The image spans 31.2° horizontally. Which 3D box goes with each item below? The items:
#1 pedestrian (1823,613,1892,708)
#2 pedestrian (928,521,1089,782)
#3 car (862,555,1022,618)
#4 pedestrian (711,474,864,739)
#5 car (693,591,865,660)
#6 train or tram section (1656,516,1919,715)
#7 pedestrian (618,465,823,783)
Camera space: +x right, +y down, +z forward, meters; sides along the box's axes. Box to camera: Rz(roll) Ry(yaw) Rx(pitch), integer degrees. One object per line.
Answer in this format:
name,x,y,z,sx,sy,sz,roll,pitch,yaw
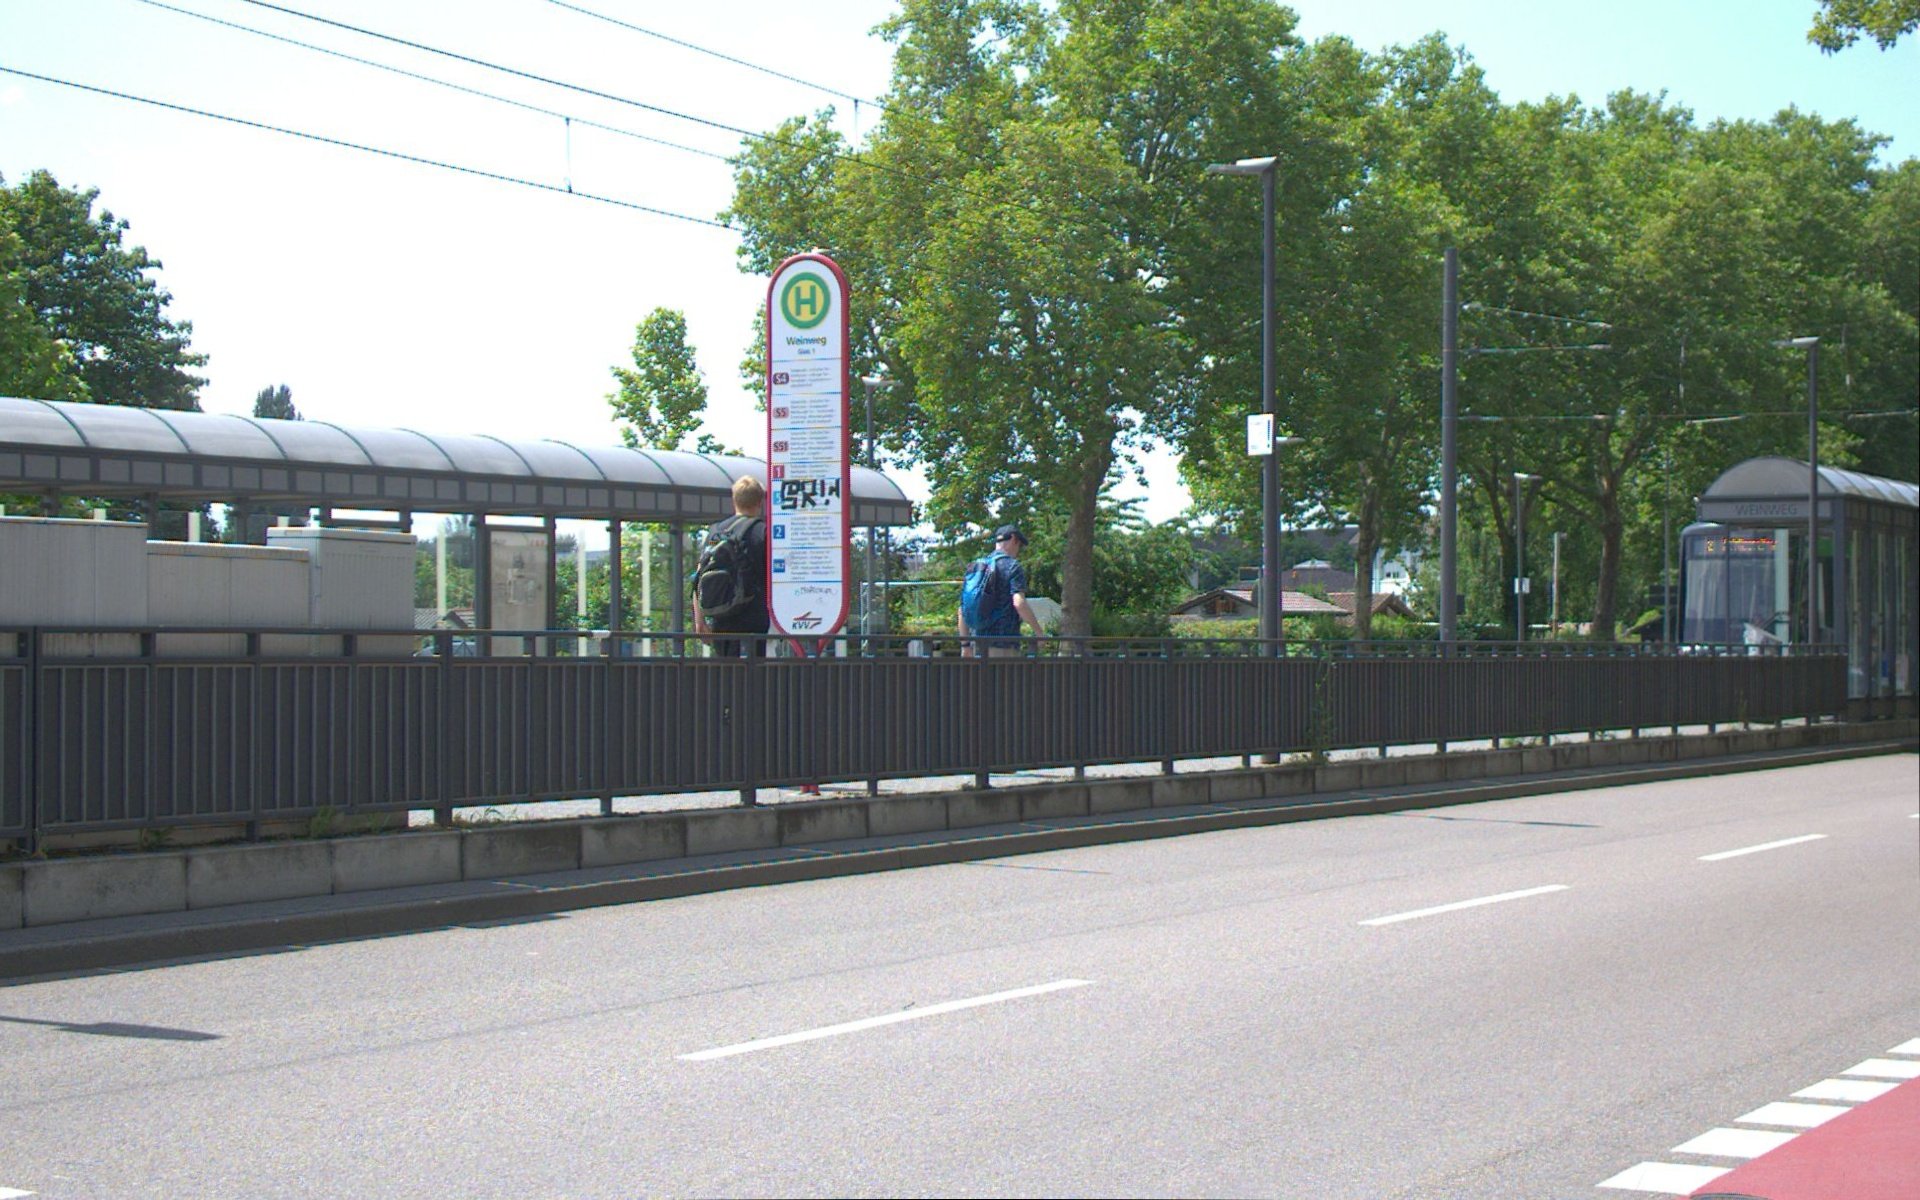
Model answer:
pedestrian,11.625,0.780,44.529,0.694,1.186,0.641,2,0,28
pedestrian,0.340,0.342,23.677,0.735,1.750,0.928,1,0,29
car,-0.498,-0.391,93.836,3.921,1.656,1.907,1,1,30
pedestrian,-1.243,0.041,24.712,0.873,1.865,0.677,0,1,-30
car,-4.590,0.631,87.023,3.921,1.656,1.907,1,1,30
train or tram section,15.838,0.320,61.768,3.041,3.175,14.080,0,-1,26
pedestrian,-1.492,0.137,21.519,0.874,1.932,0.993,1,1,28
